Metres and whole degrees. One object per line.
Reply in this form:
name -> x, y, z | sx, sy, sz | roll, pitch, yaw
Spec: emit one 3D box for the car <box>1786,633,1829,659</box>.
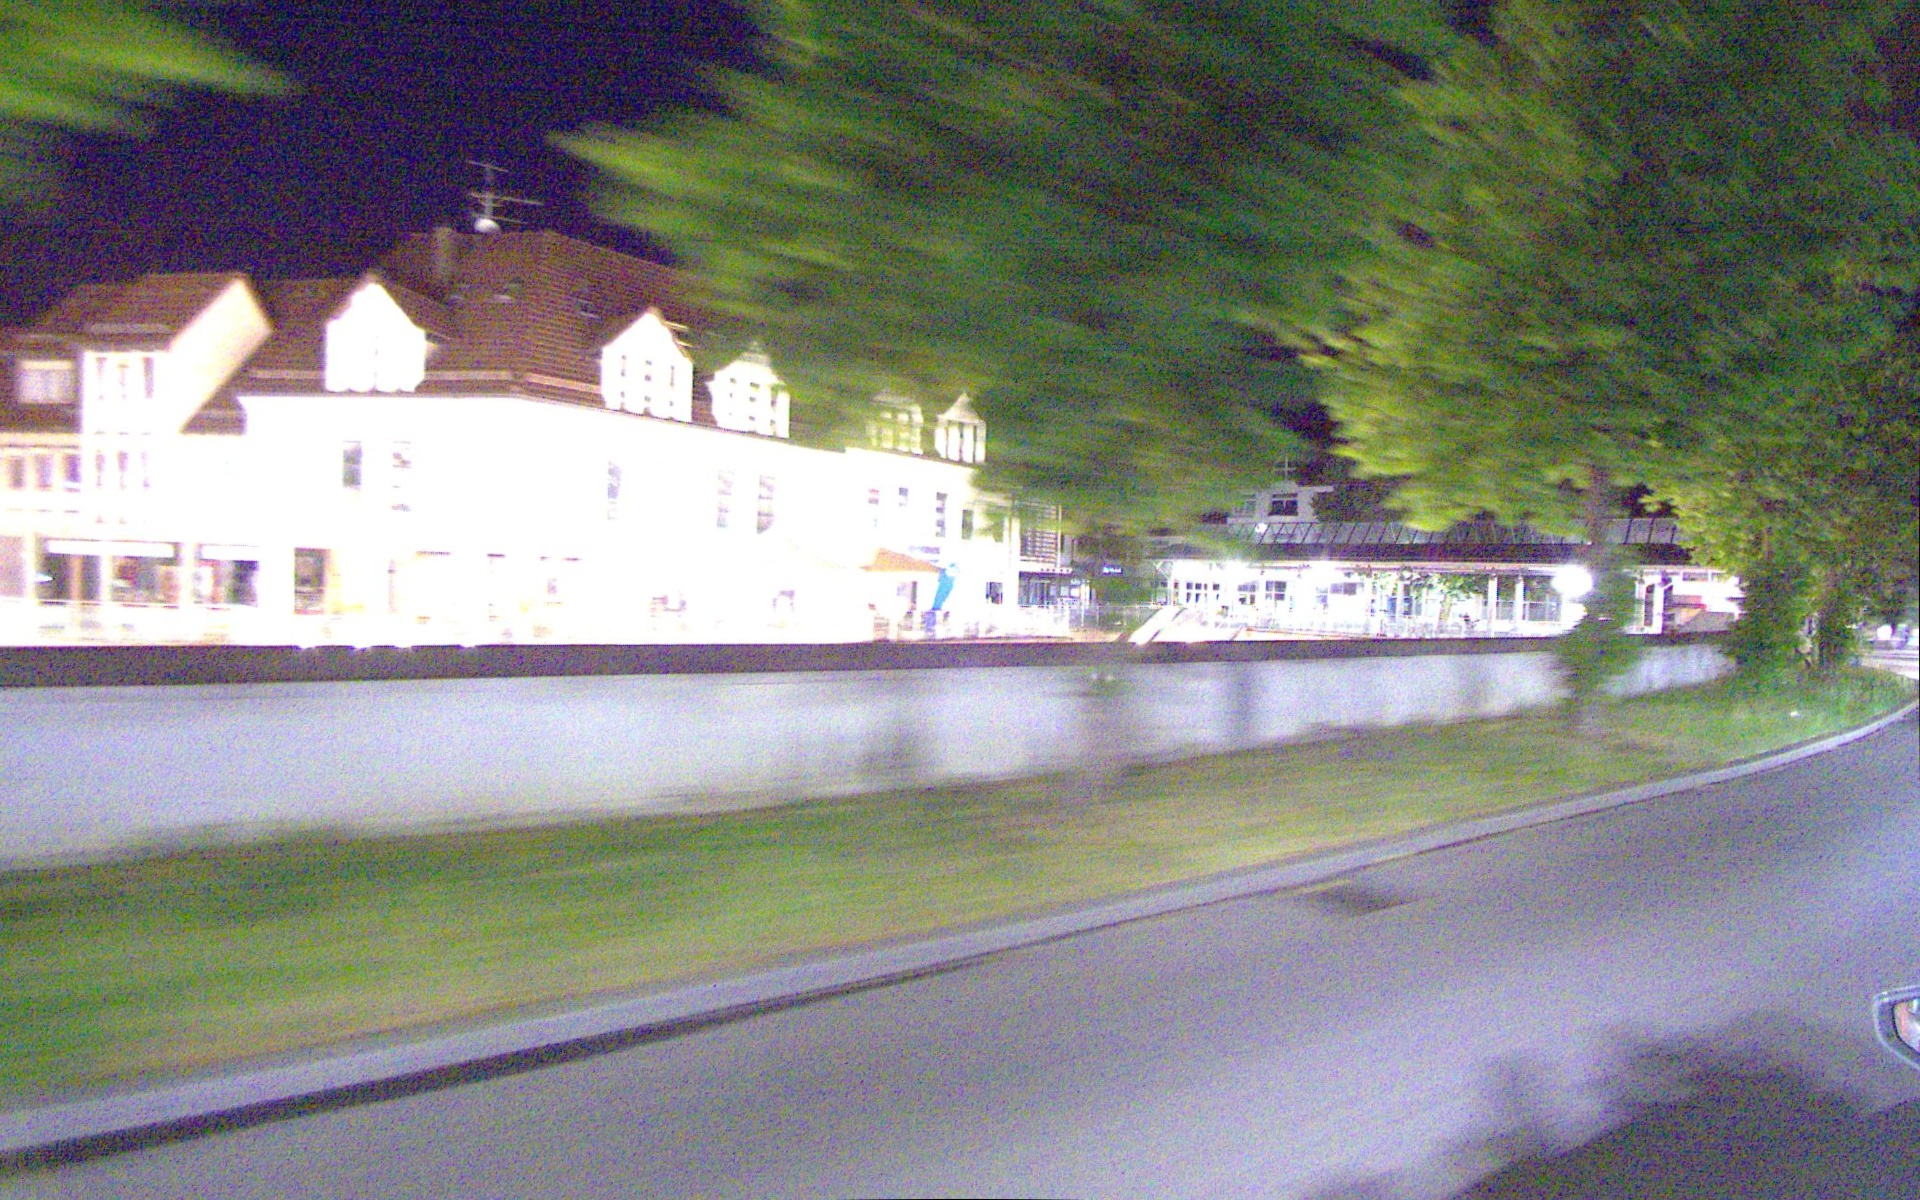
car -> 50.608, 2.764, 60.039 | 1.811, 1.472, 3.983 | 0, -2, 39
